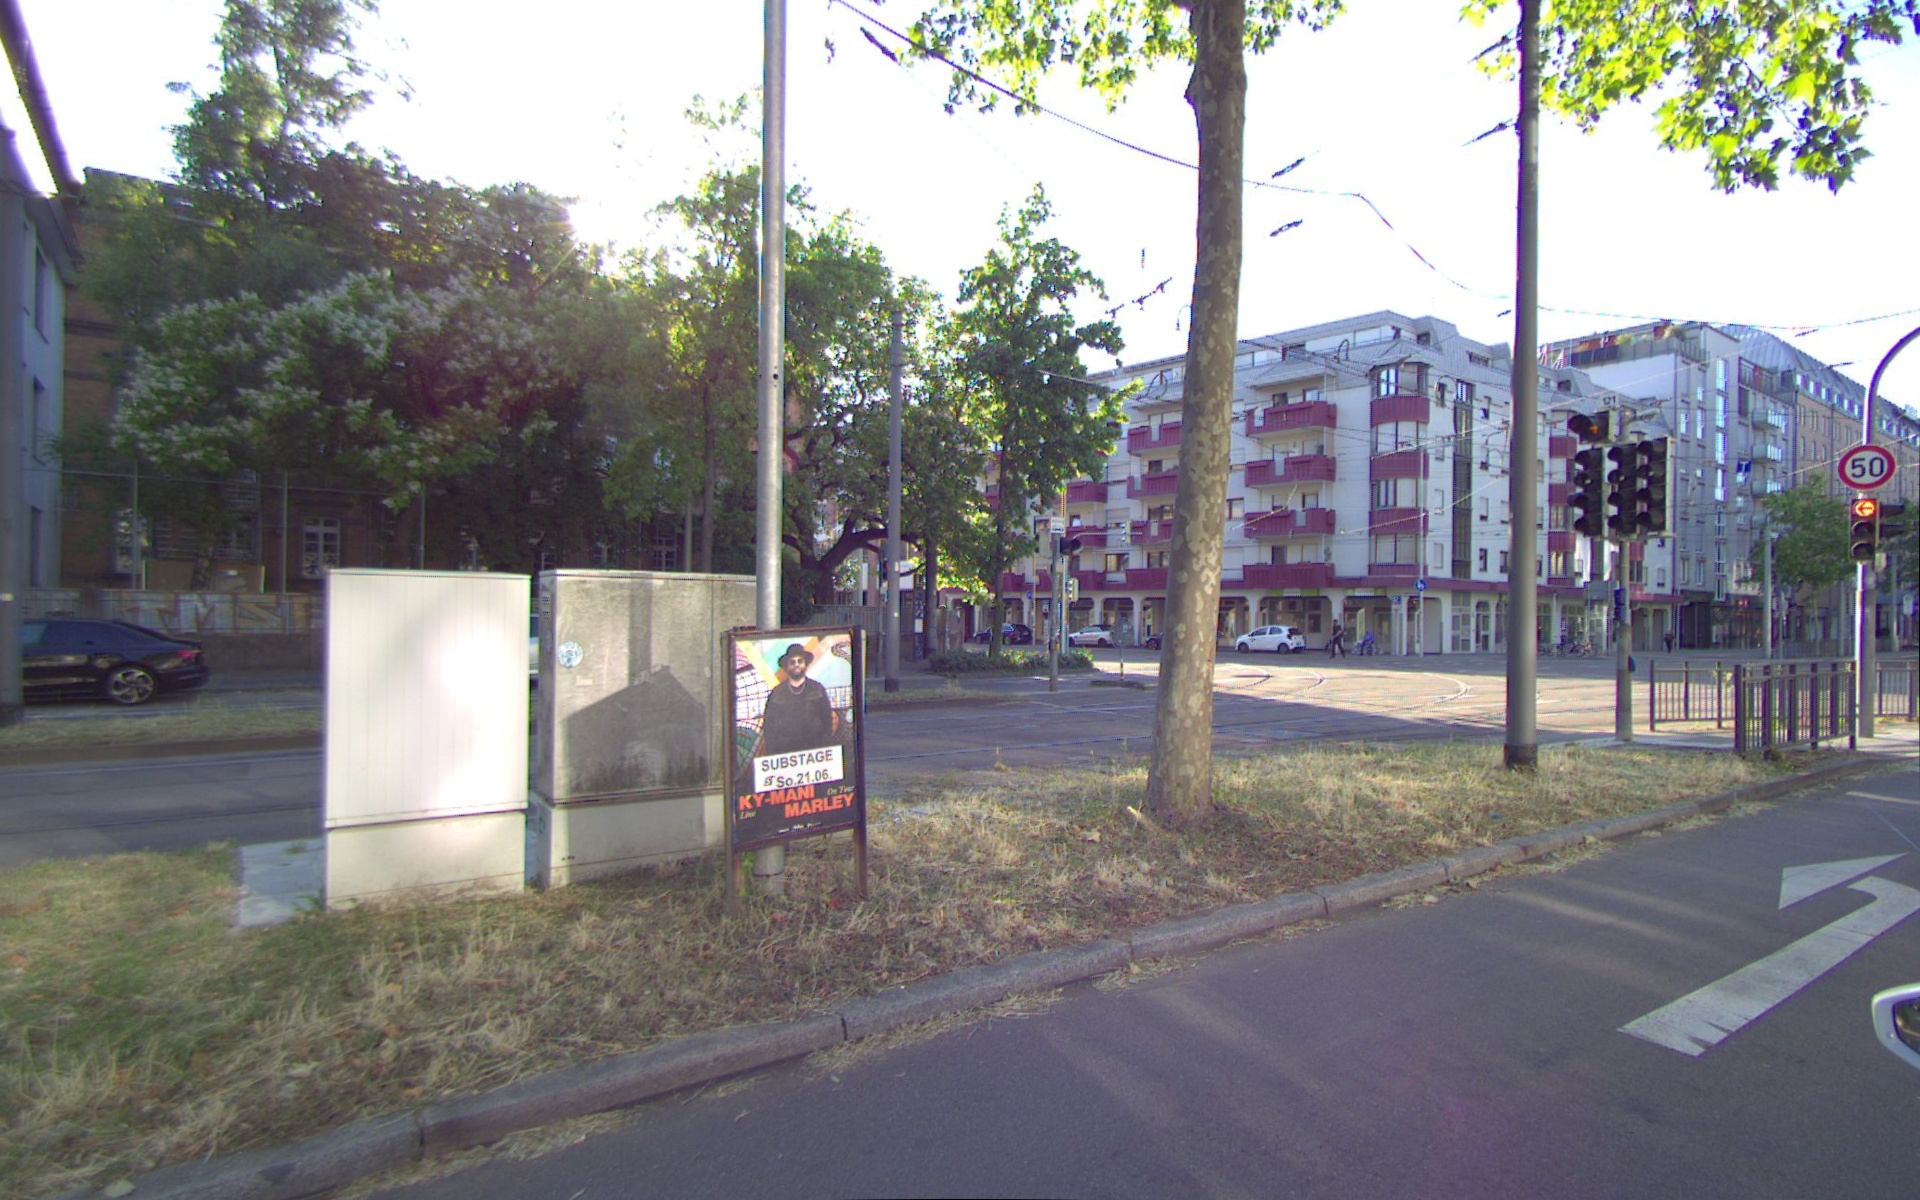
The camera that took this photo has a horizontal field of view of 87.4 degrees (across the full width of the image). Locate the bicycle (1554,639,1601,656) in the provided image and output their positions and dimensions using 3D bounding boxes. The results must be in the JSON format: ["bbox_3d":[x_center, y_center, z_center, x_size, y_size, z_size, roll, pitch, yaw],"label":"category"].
[{"bbox_3d":[33.189,2.541,54.009,0.523,0.835,2.153,1,-1,-38],"label":"bicycle"}]

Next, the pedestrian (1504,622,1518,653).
[{"bbox_3d":[30.540,2.063,55.708,0.523,1.721,0.506,1,-1,-37],"label":"pedestrian"}]

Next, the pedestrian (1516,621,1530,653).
[{"bbox_3d":[30.961,2.040,55.192,0.523,1.721,0.506,1,-1,-37],"label":"pedestrian"}]

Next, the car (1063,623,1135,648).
[{"bbox_3d":[8.624,2.188,62.585,1.790,1.483,4.214,2,-2,-45],"label":"car"}]

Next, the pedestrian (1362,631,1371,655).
[{"bbox_3d":[20.797,2.214,51.427,0.316,1.230,0.301,1,-2,-40],"label":"pedestrian"}]

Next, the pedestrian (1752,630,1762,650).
[{"bbox_3d":[61.322,3.063,77.308,0.523,1.478,0.506,1,-1,-37],"label":"pedestrian"}]

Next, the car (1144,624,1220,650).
[{"bbox_3d":[12.804,2.117,58.040,3.944,1.483,1.792,-1,-2,43],"label":"car"}]

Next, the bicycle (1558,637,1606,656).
[{"bbox_3d":[33.679,2.501,54.422,0.487,0.963,2.153,1,-1,-38],"label":"bicycle"}]

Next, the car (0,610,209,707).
[{"bbox_3d":[-15.186,0.911,16.445,4.608,1.495,1.978,1,-1,-38],"label":"car"}]

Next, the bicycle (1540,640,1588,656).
[{"bbox_3d":[32.070,2.547,53.366,0.487,0.797,2.153,1,-1,-38],"label":"bicycle"}]

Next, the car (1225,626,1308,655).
[{"bbox_3d":[16.569,2.158,54.356,3.945,1.483,1.791,-2,-2,44],"label":"car"}]

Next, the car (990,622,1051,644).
[{"bbox_3d":[4.062,2.215,67.672,1.790,1.483,3.947,2,-2,-45],"label":"car"}]

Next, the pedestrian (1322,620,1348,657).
[{"bbox_3d":[17.054,1.747,45.649,1.025,1.684,0.702,1,-2,-40],"label":"pedestrian"}]

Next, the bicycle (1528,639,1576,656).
[{"bbox_3d":[31.273,2.505,53.094,0.635,0.797,2.153,1,-2,-38],"label":"bicycle"}]

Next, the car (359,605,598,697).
[{"bbox_3d":[-9.891,0.995,20.762,4.141,1.711,1.978,1,-1,-38],"label":"car"}]

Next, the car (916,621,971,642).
[{"bbox_3d":[-1.249,2.276,73.279,1.790,1.483,3.947,2,-2,-45],"label":"car"}]

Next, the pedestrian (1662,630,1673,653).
[{"bbox_3d":[46.995,2.751,66.726,0.524,1.478,0.506,1,-1,-42],"label":"pedestrian"}]
